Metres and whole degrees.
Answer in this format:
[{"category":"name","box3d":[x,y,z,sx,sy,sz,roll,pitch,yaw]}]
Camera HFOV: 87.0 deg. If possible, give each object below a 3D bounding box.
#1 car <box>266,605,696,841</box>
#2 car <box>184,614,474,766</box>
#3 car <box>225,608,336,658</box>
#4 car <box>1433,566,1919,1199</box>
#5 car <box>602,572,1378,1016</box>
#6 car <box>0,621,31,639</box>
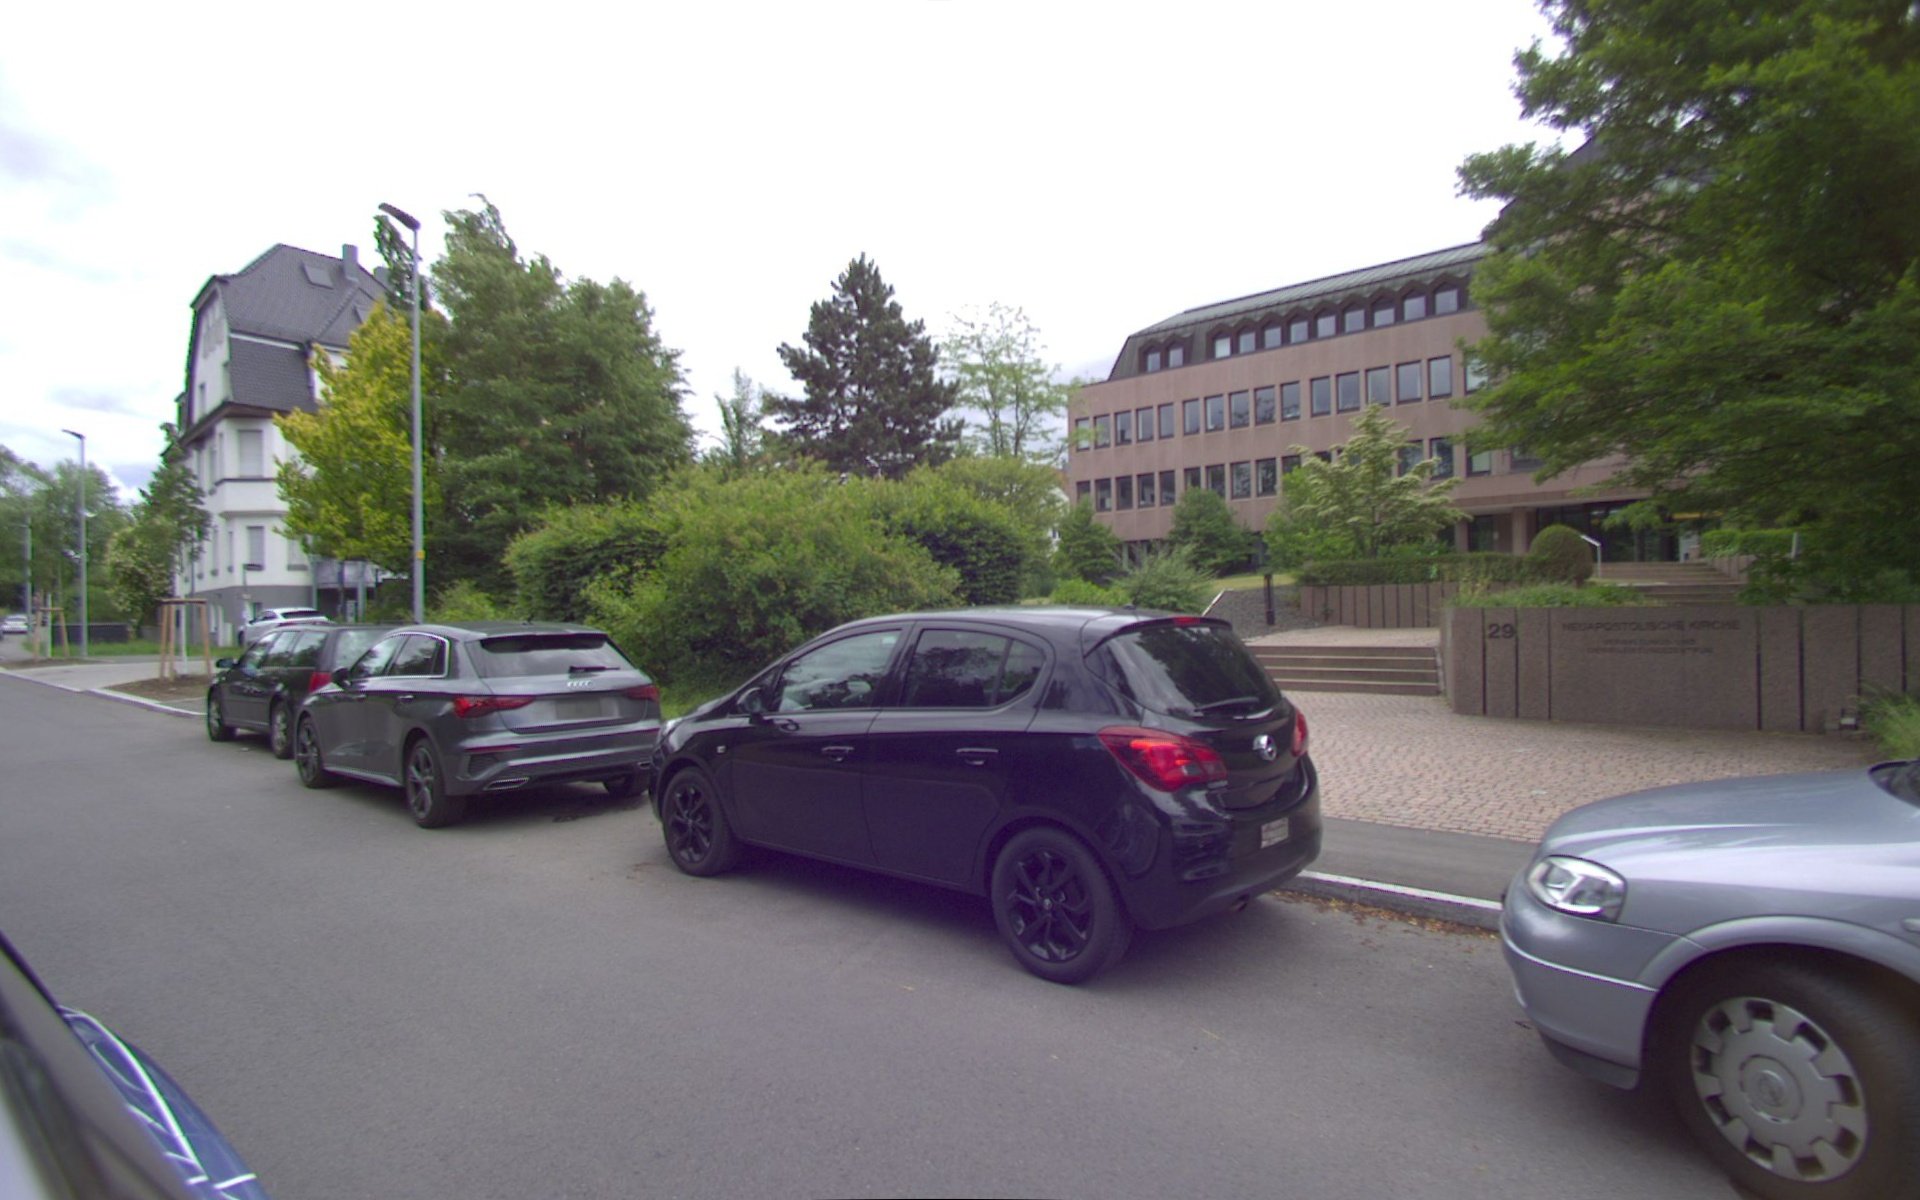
[{"category":"car","box3d":[-4.234,0.841,8.569,4.494,1.494,1.688,-2,-2,42]},{"category":"car","box3d":[-7.703,0.944,12.153,4.690,1.494,1.665,-2,-2,41]},{"category":"car","box3d":[-24.572,1.143,36.555,4.589,1.544,1.888,0,3,37]},{"category":"car","box3d":[3.520,0.636,2.082,4.347,1.443,1.607,-2,-2,40]},{"category":"car","box3d":[-0.115,0.707,5.356,3.998,1.494,1.607,-2,-2,41]},{"category":"car","box3d":[-77.047,2.423,82.388,1.709,1.439,3.465,2,-1,-37]}]
